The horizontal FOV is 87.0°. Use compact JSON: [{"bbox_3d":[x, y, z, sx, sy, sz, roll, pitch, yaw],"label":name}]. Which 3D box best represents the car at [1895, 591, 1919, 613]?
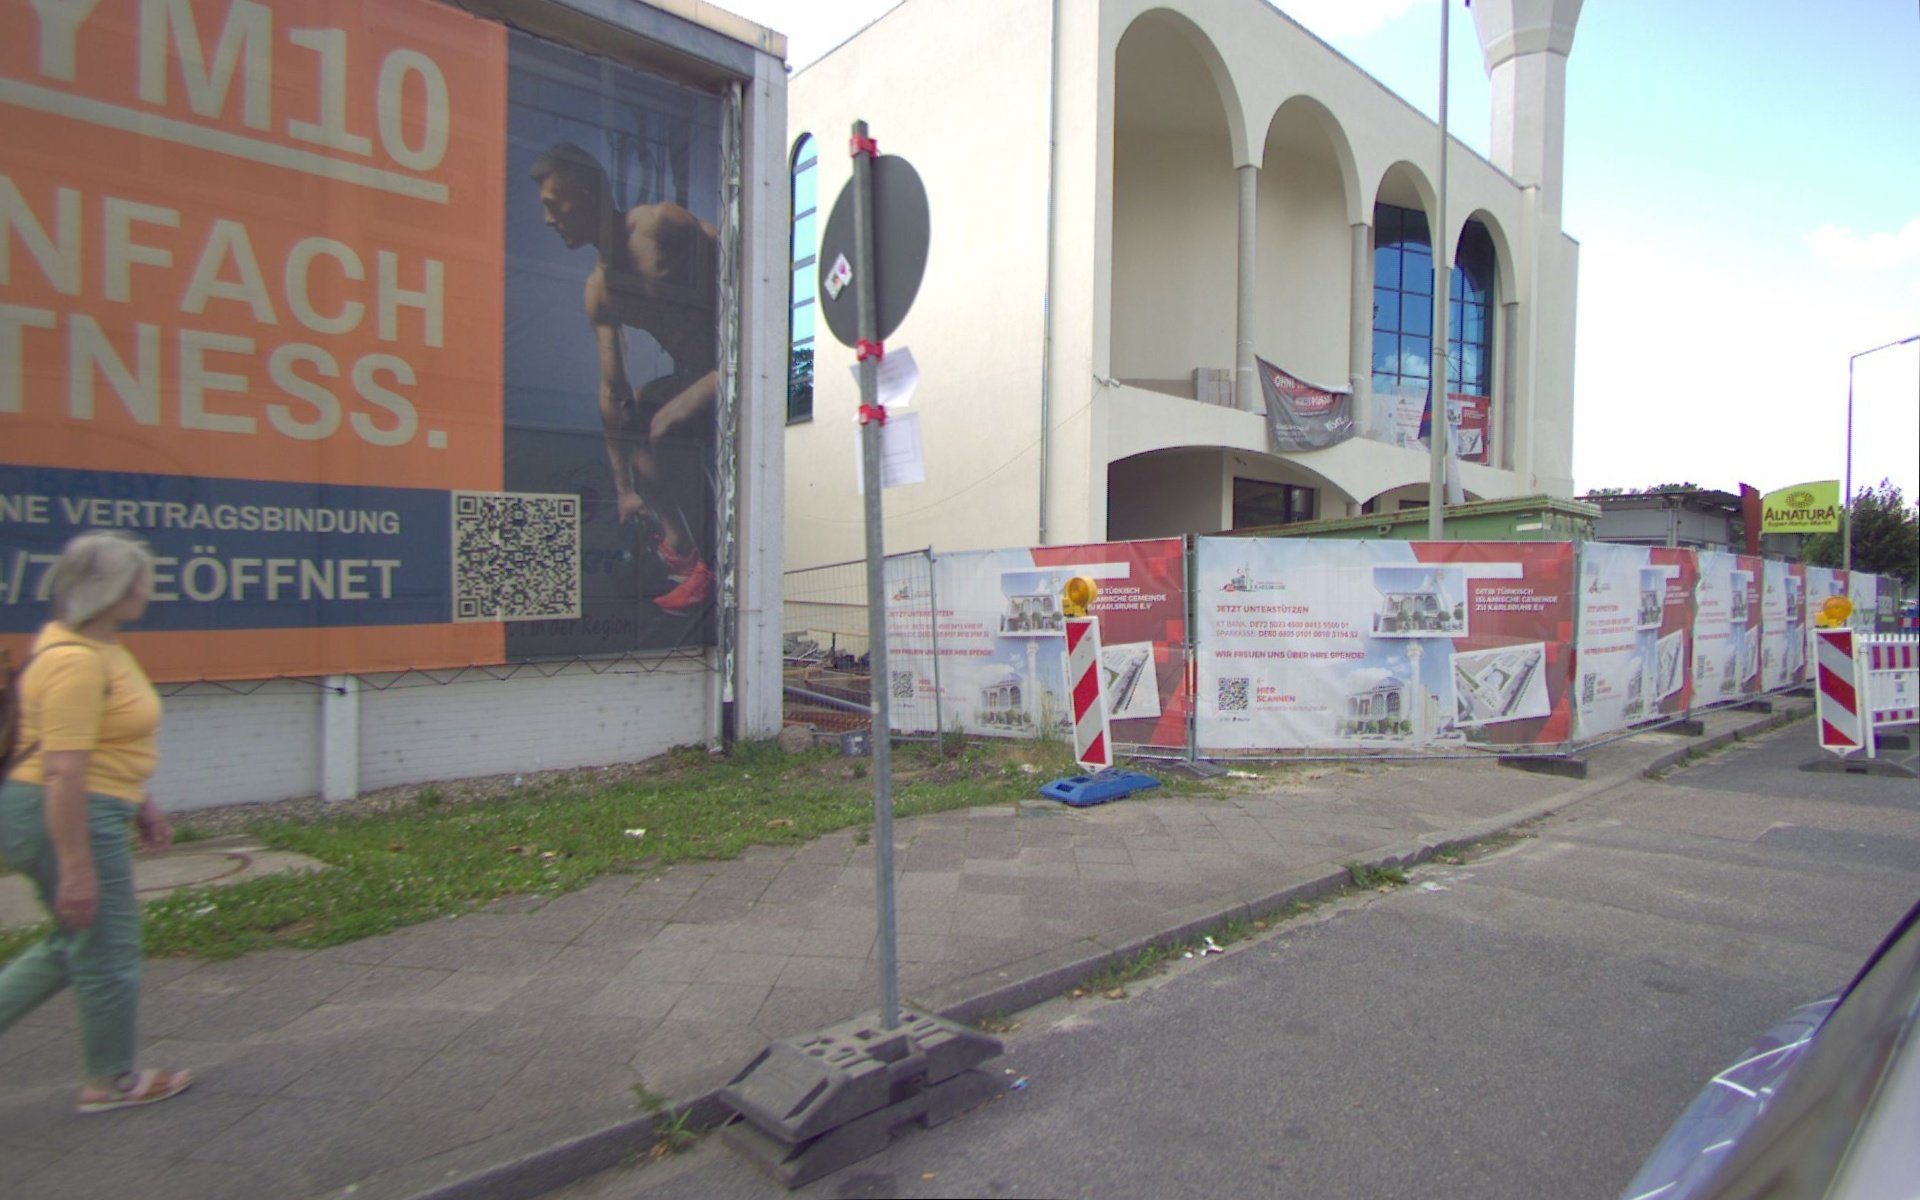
[{"bbox_3d":[66.612,0.189,68.772,1.815,1.461,4.314,0,2,-42],"label":"car"}]

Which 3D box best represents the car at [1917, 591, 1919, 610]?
[{"bbox_3d":[82.587,0.119,84.373,1.624,1.517,3.820,0,2,-40],"label":"car"}]

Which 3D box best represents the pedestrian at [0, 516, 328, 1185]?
[{"bbox_3d":[-2.388,0.573,2.660,0.681,1.553,1.112,1,1,44],"label":"pedestrian"}]

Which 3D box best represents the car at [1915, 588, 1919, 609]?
[{"bbox_3d":[84.516,-0.030,85.881,1.870,1.810,4.902,0,2,-41],"label":"car"}]

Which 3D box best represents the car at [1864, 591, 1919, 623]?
[{"bbox_3d":[48.274,0.402,50.766,1.956,1.481,4.110,0,3,-42],"label":"car"}]

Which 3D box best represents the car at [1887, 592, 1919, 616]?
[{"bbox_3d":[61.041,0.299,63.633,1.767,1.428,3.957,0,3,-44],"label":"car"}]
